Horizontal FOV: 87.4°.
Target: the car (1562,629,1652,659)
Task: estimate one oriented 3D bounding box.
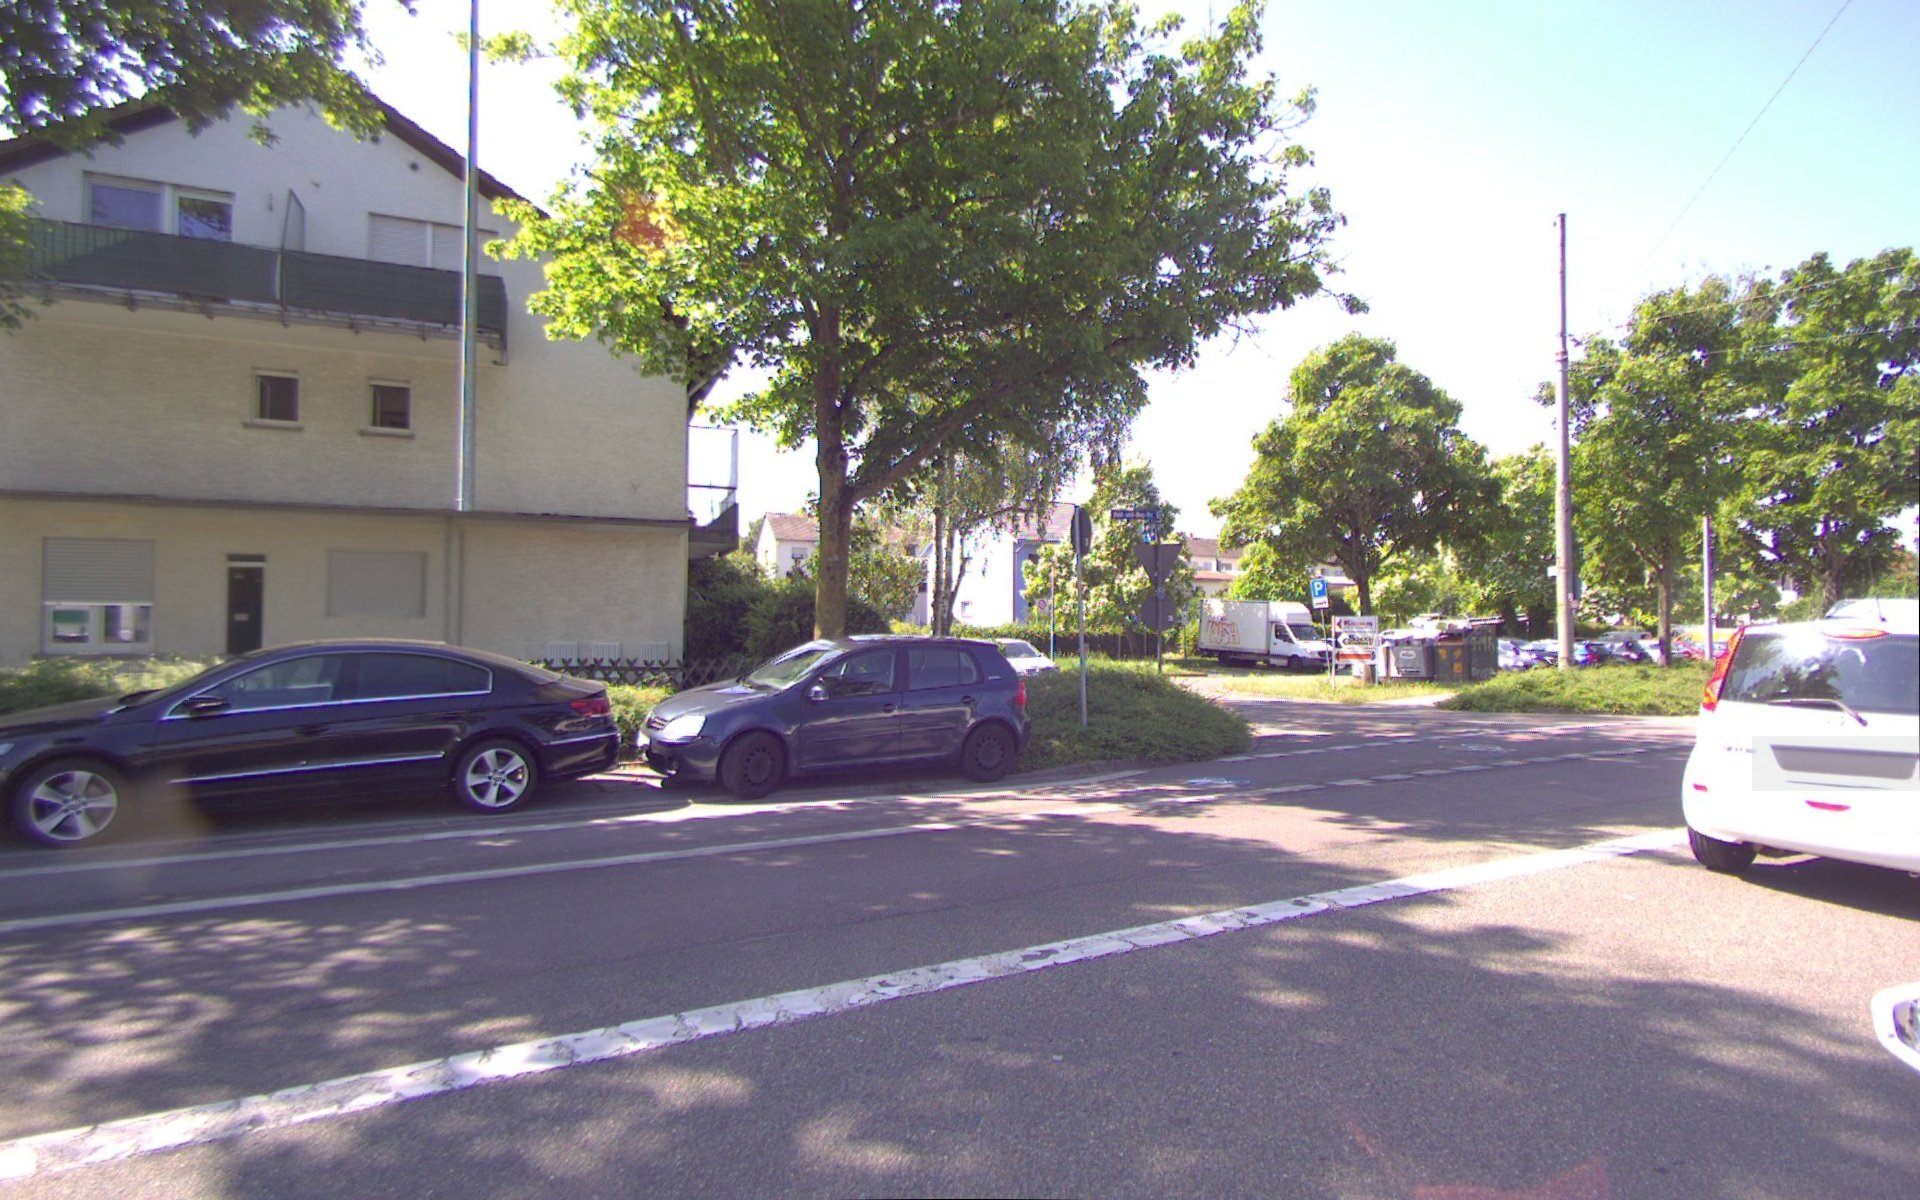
[{"bbox_3d":[44.542,3.001,69.261,2.043,1.811,4.762,2,0,-34],"label":"car"}]

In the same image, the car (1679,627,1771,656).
[{"bbox_3d":[54.428,2.918,71.541,2.043,1.811,4.762,2,0,-34],"label":"car"}]

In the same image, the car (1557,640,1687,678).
[{"bbox_3d":[26.355,2.338,40.092,1.712,1.434,3.964,2,-4,-33],"label":"car"}]

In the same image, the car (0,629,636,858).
[{"bbox_3d":[-5.244,1.009,8.343,4.568,1.434,1.854,1,0,-31],"label":"car"}]

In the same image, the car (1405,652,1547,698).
[{"bbox_3d":[17.327,2.498,33.895,1.712,1.434,3.964,2,-4,-33],"label":"car"}]

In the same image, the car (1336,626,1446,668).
[{"bbox_3d":[21.679,2.334,50.694,2.043,1.811,4.762,2,0,-34],"label":"car"}]

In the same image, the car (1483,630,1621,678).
[{"bbox_3d":[21.418,1.980,36.504,1.712,1.631,3.964,2,-4,-33],"label":"car"}]

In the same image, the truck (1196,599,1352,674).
[{"bbox_3d":[14.449,1.601,46.787,2.646,3.151,6.967,1,0,-30],"label":"truck"}]

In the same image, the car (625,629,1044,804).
[{"bbox_3d":[-1.280,1.086,10.473,3.988,1.462,1.718,1,0,-28],"label":"car"}]

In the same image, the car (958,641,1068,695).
[{"bbox_3d":[1.415,1.903,28.438,1.704,1.434,3.983,1,-3,-20],"label":"car"}]

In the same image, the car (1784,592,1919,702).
[{"bbox_3d":[23.890,1.151,25.852,5.745,2.550,2.114,1,0,-29],"label":"car"}]

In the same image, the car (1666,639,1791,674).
[{"bbox_3d":[33.167,2.456,43.450,1.712,1.434,3.964,2,-4,-33],"label":"car"}]

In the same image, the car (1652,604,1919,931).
[{"bbox_3d":[6.397,0.849,6.251,4.491,1.568,1.655,1,-1,-29],"label":"car"}]

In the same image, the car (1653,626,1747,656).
[{"bbox_3d":[50.610,2.788,68.755,2.043,1.811,4.762,2,0,-34],"label":"car"}]

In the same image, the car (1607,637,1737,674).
[{"bbox_3d":[28.834,2.253,40.779,1.712,1.434,3.964,2,-4,-33],"label":"car"}]

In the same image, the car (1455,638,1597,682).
[{"bbox_3d":[19.699,2.083,35.119,1.712,1.434,3.964,2,-4,-33],"label":"car"}]

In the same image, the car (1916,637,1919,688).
[{"bbox_3d":[29.410,1.828,28.754,4.230,1.434,1.854,1,0,-31],"label":"car"}]

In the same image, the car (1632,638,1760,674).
[{"bbox_3d":[30.745,2.343,42.080,1.712,1.434,3.964,2,-4,-33],"label":"car"}]

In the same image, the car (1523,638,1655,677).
[{"bbox_3d":[24.175,2.222,38.711,1.712,1.434,3.964,2,-4,-33],"label":"car"}]
